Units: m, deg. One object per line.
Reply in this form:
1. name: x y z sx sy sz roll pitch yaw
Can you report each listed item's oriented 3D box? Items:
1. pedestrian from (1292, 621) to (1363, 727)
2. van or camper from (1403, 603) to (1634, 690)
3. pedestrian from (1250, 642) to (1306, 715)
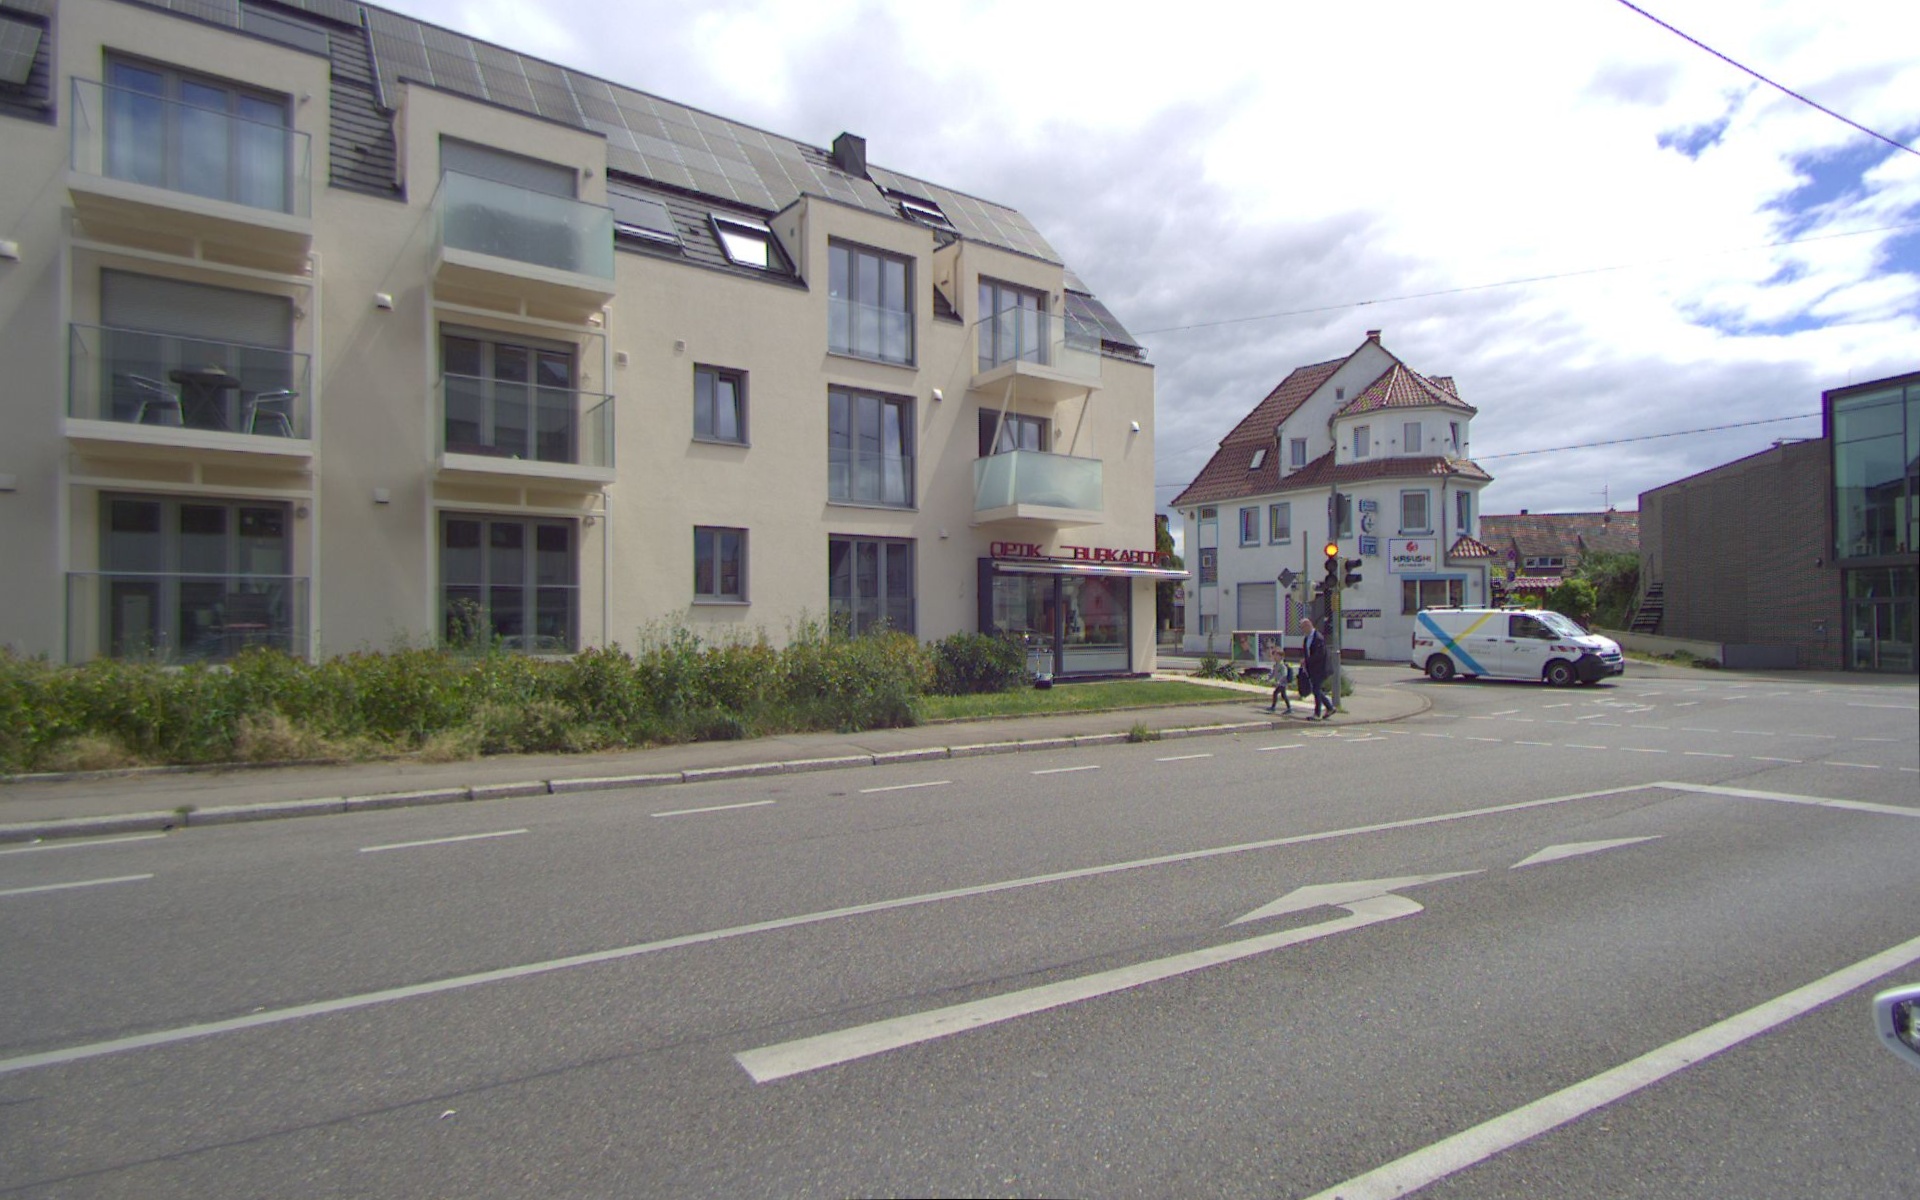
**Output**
1. pedestrian: 6.278 1.231 17.169 0.816 1.744 0.810 1 -1 -33
2. van or camper: 14.832 1.183 26.958 1.983 2.105 5.077 1 -2 -38
3. pedestrian: 5.596 1.369 17.686 0.729 1.238 0.639 1 -1 -36
